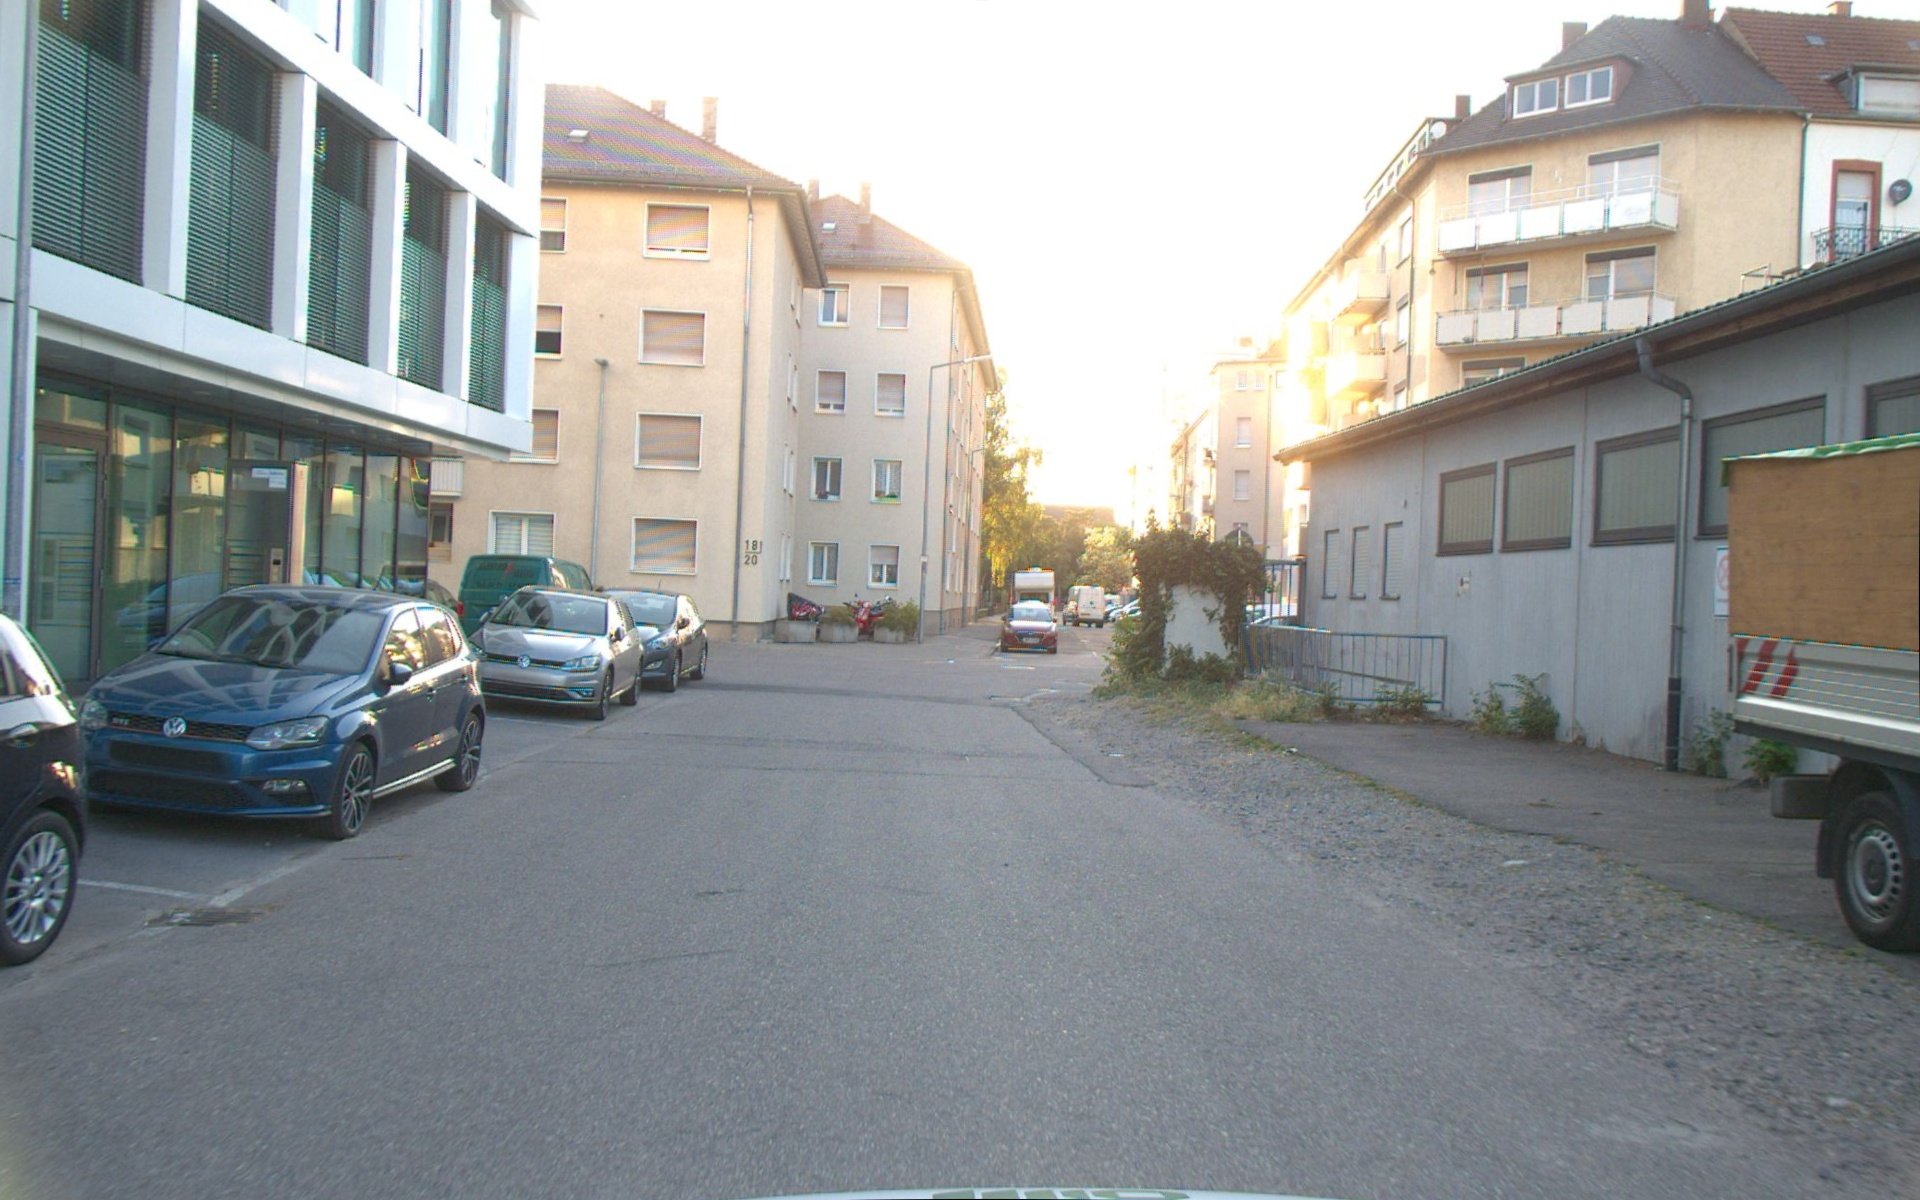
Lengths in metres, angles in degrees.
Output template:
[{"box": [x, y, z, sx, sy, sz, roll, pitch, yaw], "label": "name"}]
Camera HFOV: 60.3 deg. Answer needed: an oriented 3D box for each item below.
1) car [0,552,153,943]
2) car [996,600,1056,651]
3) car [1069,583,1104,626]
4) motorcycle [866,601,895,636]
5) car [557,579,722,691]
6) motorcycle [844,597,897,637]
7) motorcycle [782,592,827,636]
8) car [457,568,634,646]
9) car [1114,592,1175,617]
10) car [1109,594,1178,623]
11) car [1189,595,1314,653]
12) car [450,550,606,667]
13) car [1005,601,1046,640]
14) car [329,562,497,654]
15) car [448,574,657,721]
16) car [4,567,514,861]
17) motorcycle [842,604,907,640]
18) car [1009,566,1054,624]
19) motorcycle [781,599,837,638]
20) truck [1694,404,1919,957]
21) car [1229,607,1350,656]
[{"box": [-4.427, 0.511, 5.146, 1.615, 1.463, 4.202, 5, 0, 0], "label": "car"}, {"box": [2.079, 0.795, 53.071, 1.807, 1.499, 4.079, 2, 0, 1], "label": "car"}, {"box": [8.382, 0.275, 109.856, 2.084, 2.765, 4.834, 0, 0, 1], "label": "car"}, {"box": [-2.550, 0.585, 53.328, 0.668, 1.098, 2.035, 2, 0, 4], "label": "motorcycle"}, {"box": [-5.091, 0.515, 26.818, 1.744, 1.504, 4.330, 5, 0, -1], "label": "car"}, {"box": [-2.738, 0.532, 50.898, 0.675, 1.180, 2.031, 2, 0, 27], "label": "motorcycle"}, {"box": [-4.773, 0.424, 50.832, 0.708, 1.286, 2.082, 2, 0, 13], "label": "motorcycle"}, {"box": [-10.228, 0.149, 41.029, 3.926, 1.645, 1.881, 2, 4, -3], "label": "car"}, {"box": [12.194, 0.298, 109.280, 3.904, 1.557, 1.659, 1, 0, 2], "label": "car"}, {"box": [12.958, 0.585, 117.129, 4.713, 2.002, 1.739, 1, 0, 2], "label": "car"}, {"box": [10.414, 0.867, 59.290, 4.190, 1.893, 1.742, 2, -1, 3], "label": "car"}, {"box": [-8.151, 0.110, 31.614, 1.761, 2.014, 4.689, 2, 1, -1], "label": "car"}, {"box": [2.596, 0.798, 65.901, 1.582, 1.499, 3.505, 0, 0, 1], "label": "car"}, {"box": [-10.352, 0.205, 31.650, 1.743, 1.577, 4.330, 2, -2, -1], "label": "car"}, {"box": [-4.991, 0.521, 20.816, 1.677, 1.504, 4.182, 5, 0, -3], "label": "car"}, {"box": [-4.403, 0.614, 11.158, 1.615, 1.463, 4.183, 5, 0, -2], "label": "car"}, {"box": [-2.864, 0.741, 55.539, 2.078, 1.124, 0.561, 2, 0, 14], "label": "motorcycle"}, {"box": [4.288, -0.288, 98.319, 2.565, 3.326, 7.699, 0, 0, 3], "label": "car"}, {"box": [-4.427, 0.543, 48.542, 0.709, 1.098, 2.080, 2, 0, 23], "label": "motorcycle"}, {"box": [4.931, 0.357, 5.806, 2.055, 2.239, 5.710, 2, 0, -1], "label": "truck"}, {"box": [11.204, 1.063, 56.439, 3.791, 1.518, 1.742, 2, 0, 3], "label": "car"}]
